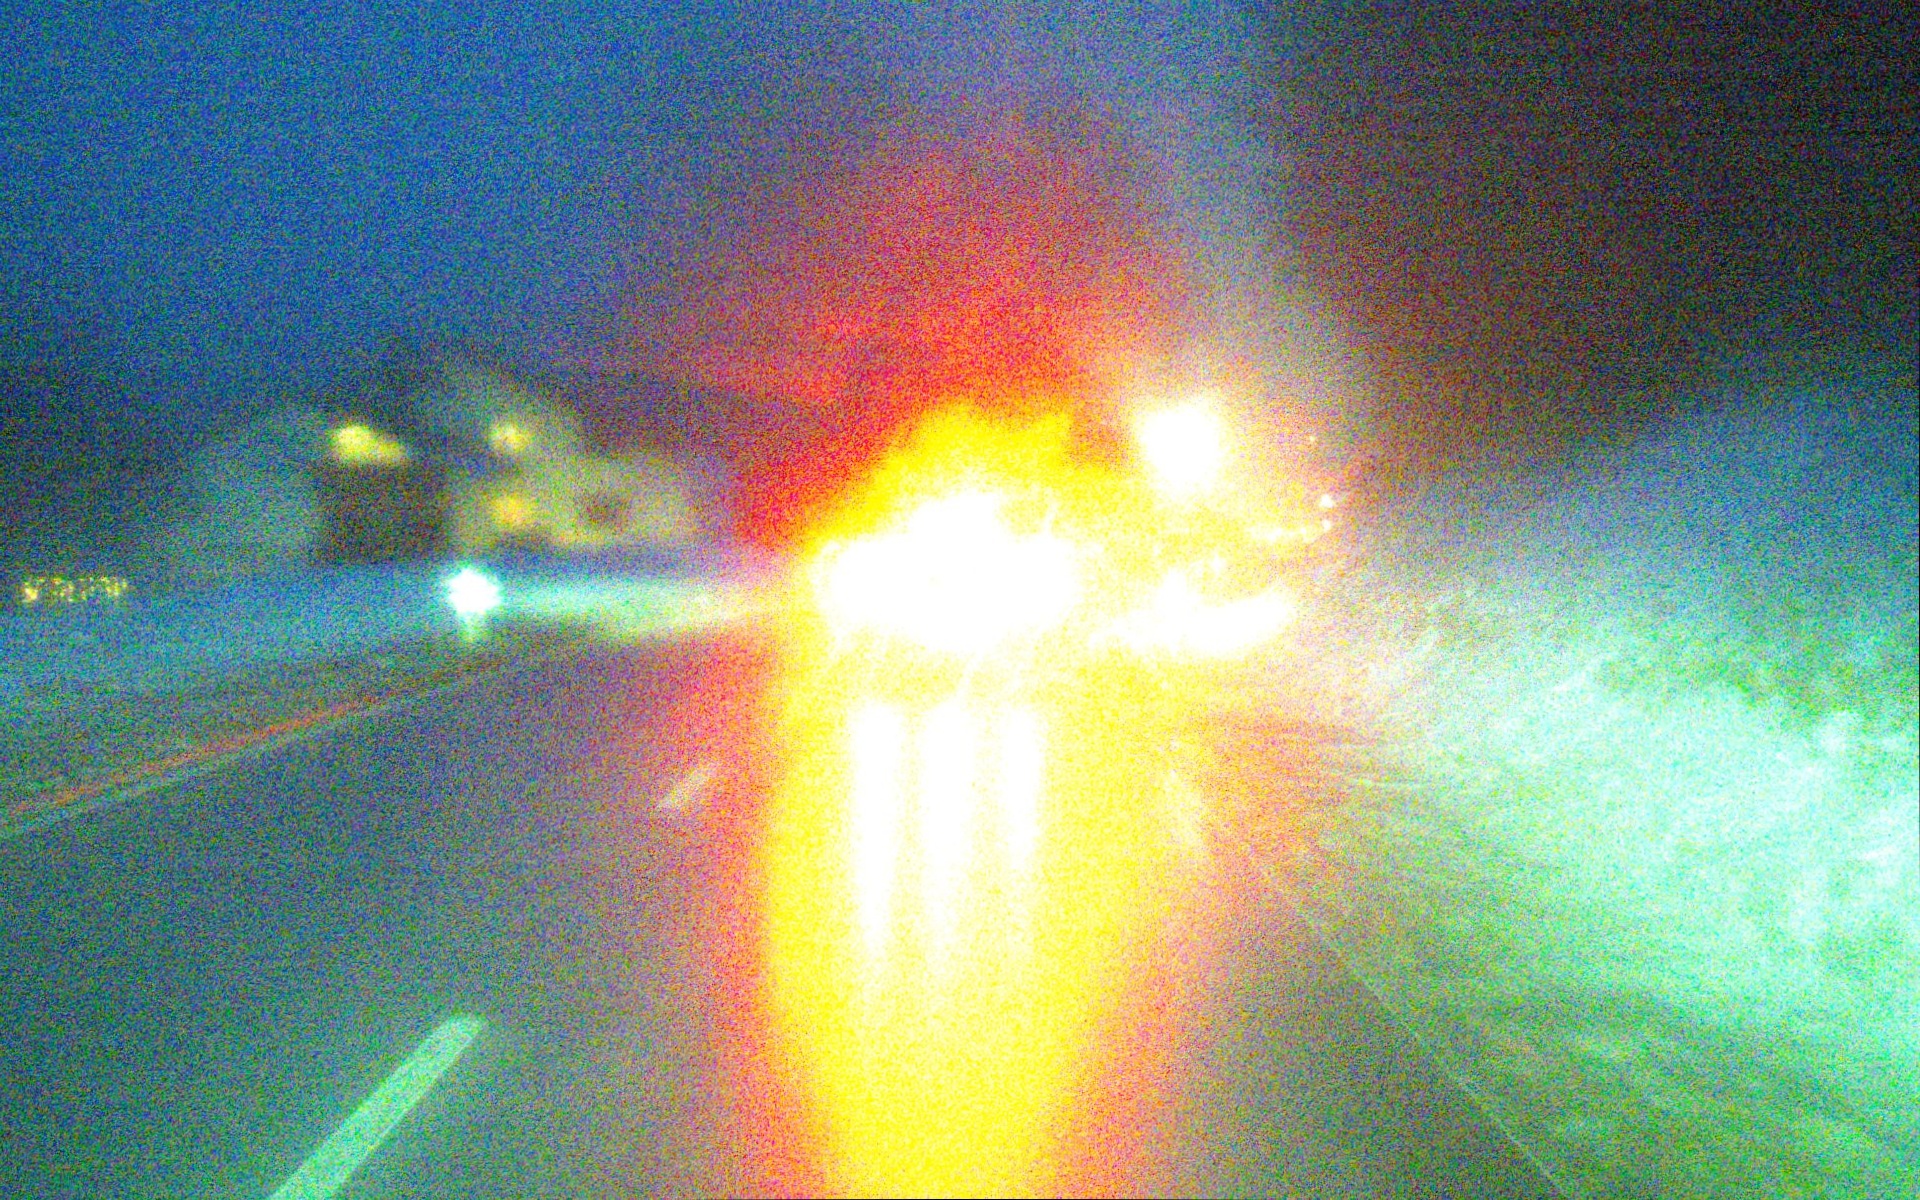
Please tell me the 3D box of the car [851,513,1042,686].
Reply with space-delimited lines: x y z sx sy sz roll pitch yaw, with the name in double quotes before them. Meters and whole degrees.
"car" -0.105 -0.043 34.351 1.801 1.623 3.615 0 1 1
